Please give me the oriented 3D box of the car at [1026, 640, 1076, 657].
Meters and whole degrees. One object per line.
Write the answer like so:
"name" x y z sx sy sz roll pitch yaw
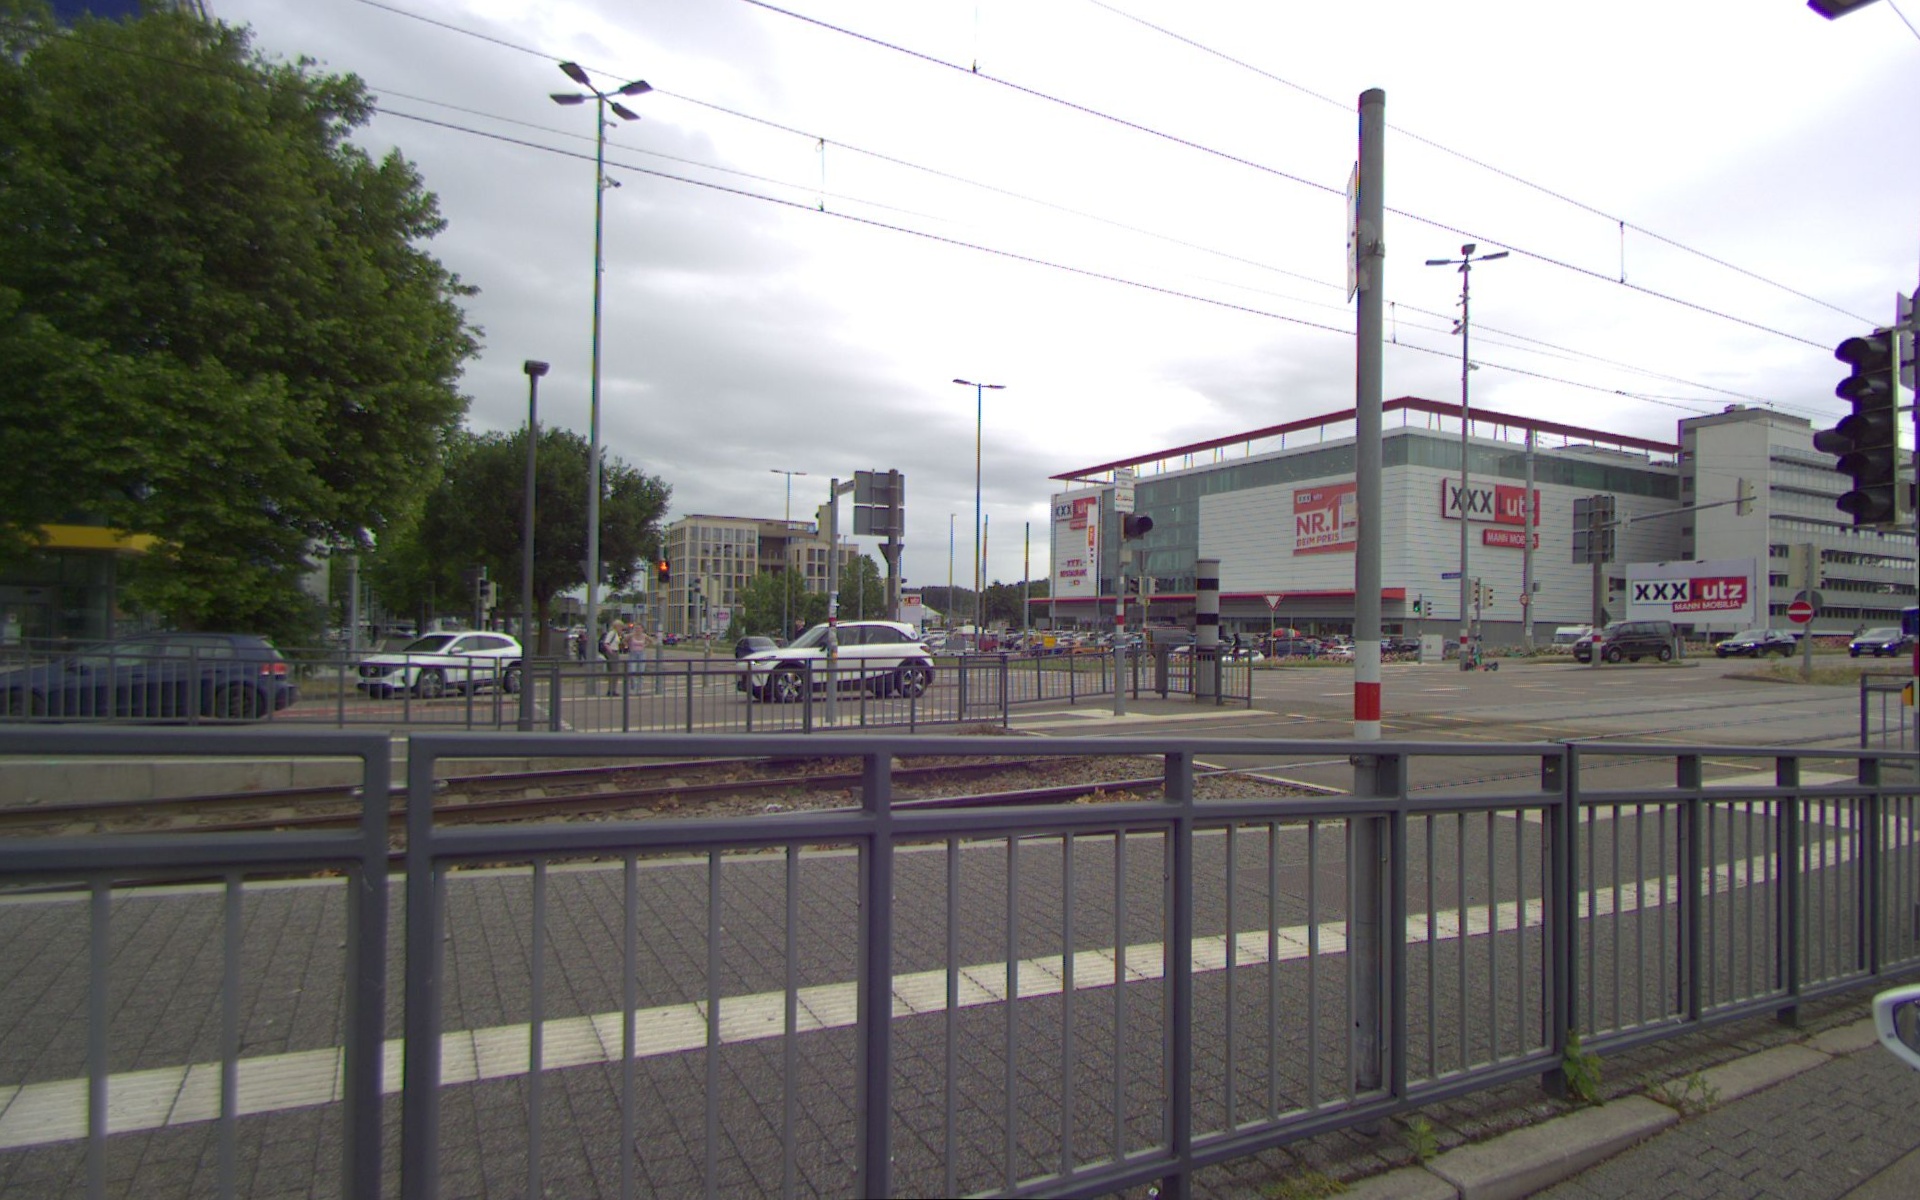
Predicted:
"car" 7.903 4.233 87.300 3.948 1.474 1.802 2 -3 -27

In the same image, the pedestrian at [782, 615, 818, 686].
"pedestrian" -4.168 1.323 26.183 0.657 1.787 0.682 -2 -4 -31

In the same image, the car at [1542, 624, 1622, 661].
"car" 53.909 3.700 87.037 6.861 3.029 2.750 2 0 -27

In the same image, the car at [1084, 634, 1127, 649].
"car" 15.243 4.338 104.900 4.197 1.488 1.728 2 0 -26

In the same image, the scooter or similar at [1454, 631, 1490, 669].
"scooter or similar" 17.719 1.724 34.764 1.001 1.272 0.463 0 -3 -15

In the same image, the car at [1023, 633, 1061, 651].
"car" 8.758 4.491 107.034 3.699 1.791 1.722 2 0 -26

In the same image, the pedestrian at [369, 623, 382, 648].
"pedestrian" -41.670 2.509 71.603 0.671 1.768 0.802 2 -2 -28

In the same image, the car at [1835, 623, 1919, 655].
"car" 45.385 1.923 49.453 4.147 1.483 1.827 1 -1 -23

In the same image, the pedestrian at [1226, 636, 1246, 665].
"pedestrian" 15.653 2.873 57.041 0.774 1.618 0.712 1 -4 -29

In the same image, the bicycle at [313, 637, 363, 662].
"bicycle" -31.243 2.490 50.489 2.007 1.172 0.586 5 -3 -41

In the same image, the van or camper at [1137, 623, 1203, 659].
"van or camper" 18.211 3.564 87.059 5.315 3.023 1.983 1 -2 -20

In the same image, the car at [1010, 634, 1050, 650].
"car" 7.617 4.551 109.229 3.948 1.617 1.867 2 0 -27

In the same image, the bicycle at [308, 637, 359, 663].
"bicycle" -30.447 2.433 48.852 1.998 1.172 0.589 4 -3 -30

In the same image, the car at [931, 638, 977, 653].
"car" -0.646 4.753 104.706 4.331 1.480 1.948 2 0 -26

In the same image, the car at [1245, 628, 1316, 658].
"car" 24.418 3.267 76.514 4.980 2.193 2.111 1 -2 -23

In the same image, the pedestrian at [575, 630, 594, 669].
"pedestrian" -16.298 2.151 43.614 0.628 1.663 0.803 2 -4 -30

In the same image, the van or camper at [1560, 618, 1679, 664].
"van or camper" 31.388 1.952 47.848 4.674 2.039 2.118 -1 -3 -15

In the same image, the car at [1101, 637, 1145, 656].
"car" 15.277 4.321 94.271 3.857 1.676 1.817 0 -1 -30

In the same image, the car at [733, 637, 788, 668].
"car" -10.240 2.657 51.333 1.588 1.463 4.114 -1 -2 -28

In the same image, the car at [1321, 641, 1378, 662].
"car" 29.745 3.923 76.654 4.155 1.495 1.734 1 -2 -26

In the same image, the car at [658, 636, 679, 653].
"car" -38.154 5.819 131.511 1.974 2.040 3.973 0 -2 -27

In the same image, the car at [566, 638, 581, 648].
"car" -64.533 7.181 167.808 1.912 1.539 4.154 -1 -2 -27

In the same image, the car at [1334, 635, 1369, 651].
"car" 42.134 4.635 108.107 3.568 1.581 1.640 0 0 -27

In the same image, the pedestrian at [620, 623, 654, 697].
"pedestrian" -7.675 1.418 23.881 0.666 1.734 0.761 1 -2 -24

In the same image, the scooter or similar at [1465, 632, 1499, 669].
"scooter or similar" 18.578 1.799 35.752 1.097 1.272 0.320 0 -3 -15

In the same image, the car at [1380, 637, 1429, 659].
"car" 40.054 4.320 90.597 3.946 1.954 1.938 1 -2 -26

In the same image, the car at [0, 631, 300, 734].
"car" -12.629 1.220 15.496 3.953 1.436 1.714 1 -3 -30

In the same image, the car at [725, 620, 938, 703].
"car" -2.682 1.271 21.084 4.091 1.606 1.785 1 -4 -28

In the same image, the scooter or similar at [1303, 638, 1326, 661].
"scooter or similar" 19.335 2.691 54.774 1.143 1.249 0.346 -1 -4 24

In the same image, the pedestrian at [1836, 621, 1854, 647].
"pedestrian" 62.838 2.395 71.350 0.685 1.814 0.641 2 0 -11

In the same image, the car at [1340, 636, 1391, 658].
"car" 35.591 4.083 88.087 4.167 1.804 1.853 1 -1 -26

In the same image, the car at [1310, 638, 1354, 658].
"car" 36.017 4.616 97.312 3.946 1.842 1.810 1 -2 -26

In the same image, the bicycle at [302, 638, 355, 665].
"bicycle" -29.544 2.403 47.046 1.998 1.172 0.589 4 -3 -30

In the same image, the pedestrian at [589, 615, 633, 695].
"pedestrian" -8.100 1.285 23.326 0.756 1.821 0.671 -3 -4 45

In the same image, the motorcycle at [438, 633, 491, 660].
"motorcycle" -27.525 2.585 55.839 2.481 1.373 0.791 5 -4 -40

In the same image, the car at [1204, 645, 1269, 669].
"car" 18.480 3.814 67.061 4.070 1.465 1.861 2 0 -29

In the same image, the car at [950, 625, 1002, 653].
"car" 1.612 3.904 100.758 4.676 2.613 2.156 2 0 -26

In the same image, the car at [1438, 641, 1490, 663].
"car" 39.805 4.106 79.322 3.954 1.687 1.871 2 -2 -31

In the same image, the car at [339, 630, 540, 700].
"car" -12.971 1.610 25.362 1.856 1.606 4.412 -1 -3 19

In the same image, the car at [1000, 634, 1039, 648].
"car" 6.583 4.552 111.401 3.951 1.554 1.875 2 -3 -29

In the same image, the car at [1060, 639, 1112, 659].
"car" 10.431 4.056 82.973 3.943 1.665 1.805 1 -2 -23

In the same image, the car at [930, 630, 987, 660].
"car" -0.133 3.036 67.752 1.978 1.775 4.144 2 0 -32

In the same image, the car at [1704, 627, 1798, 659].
"car" 40.289 2.189 51.177 4.260 1.483 1.958 2 0 -23

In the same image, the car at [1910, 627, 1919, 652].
"car" 60.433 2.475 61.797 3.996 1.559 1.721 2 0 -28
